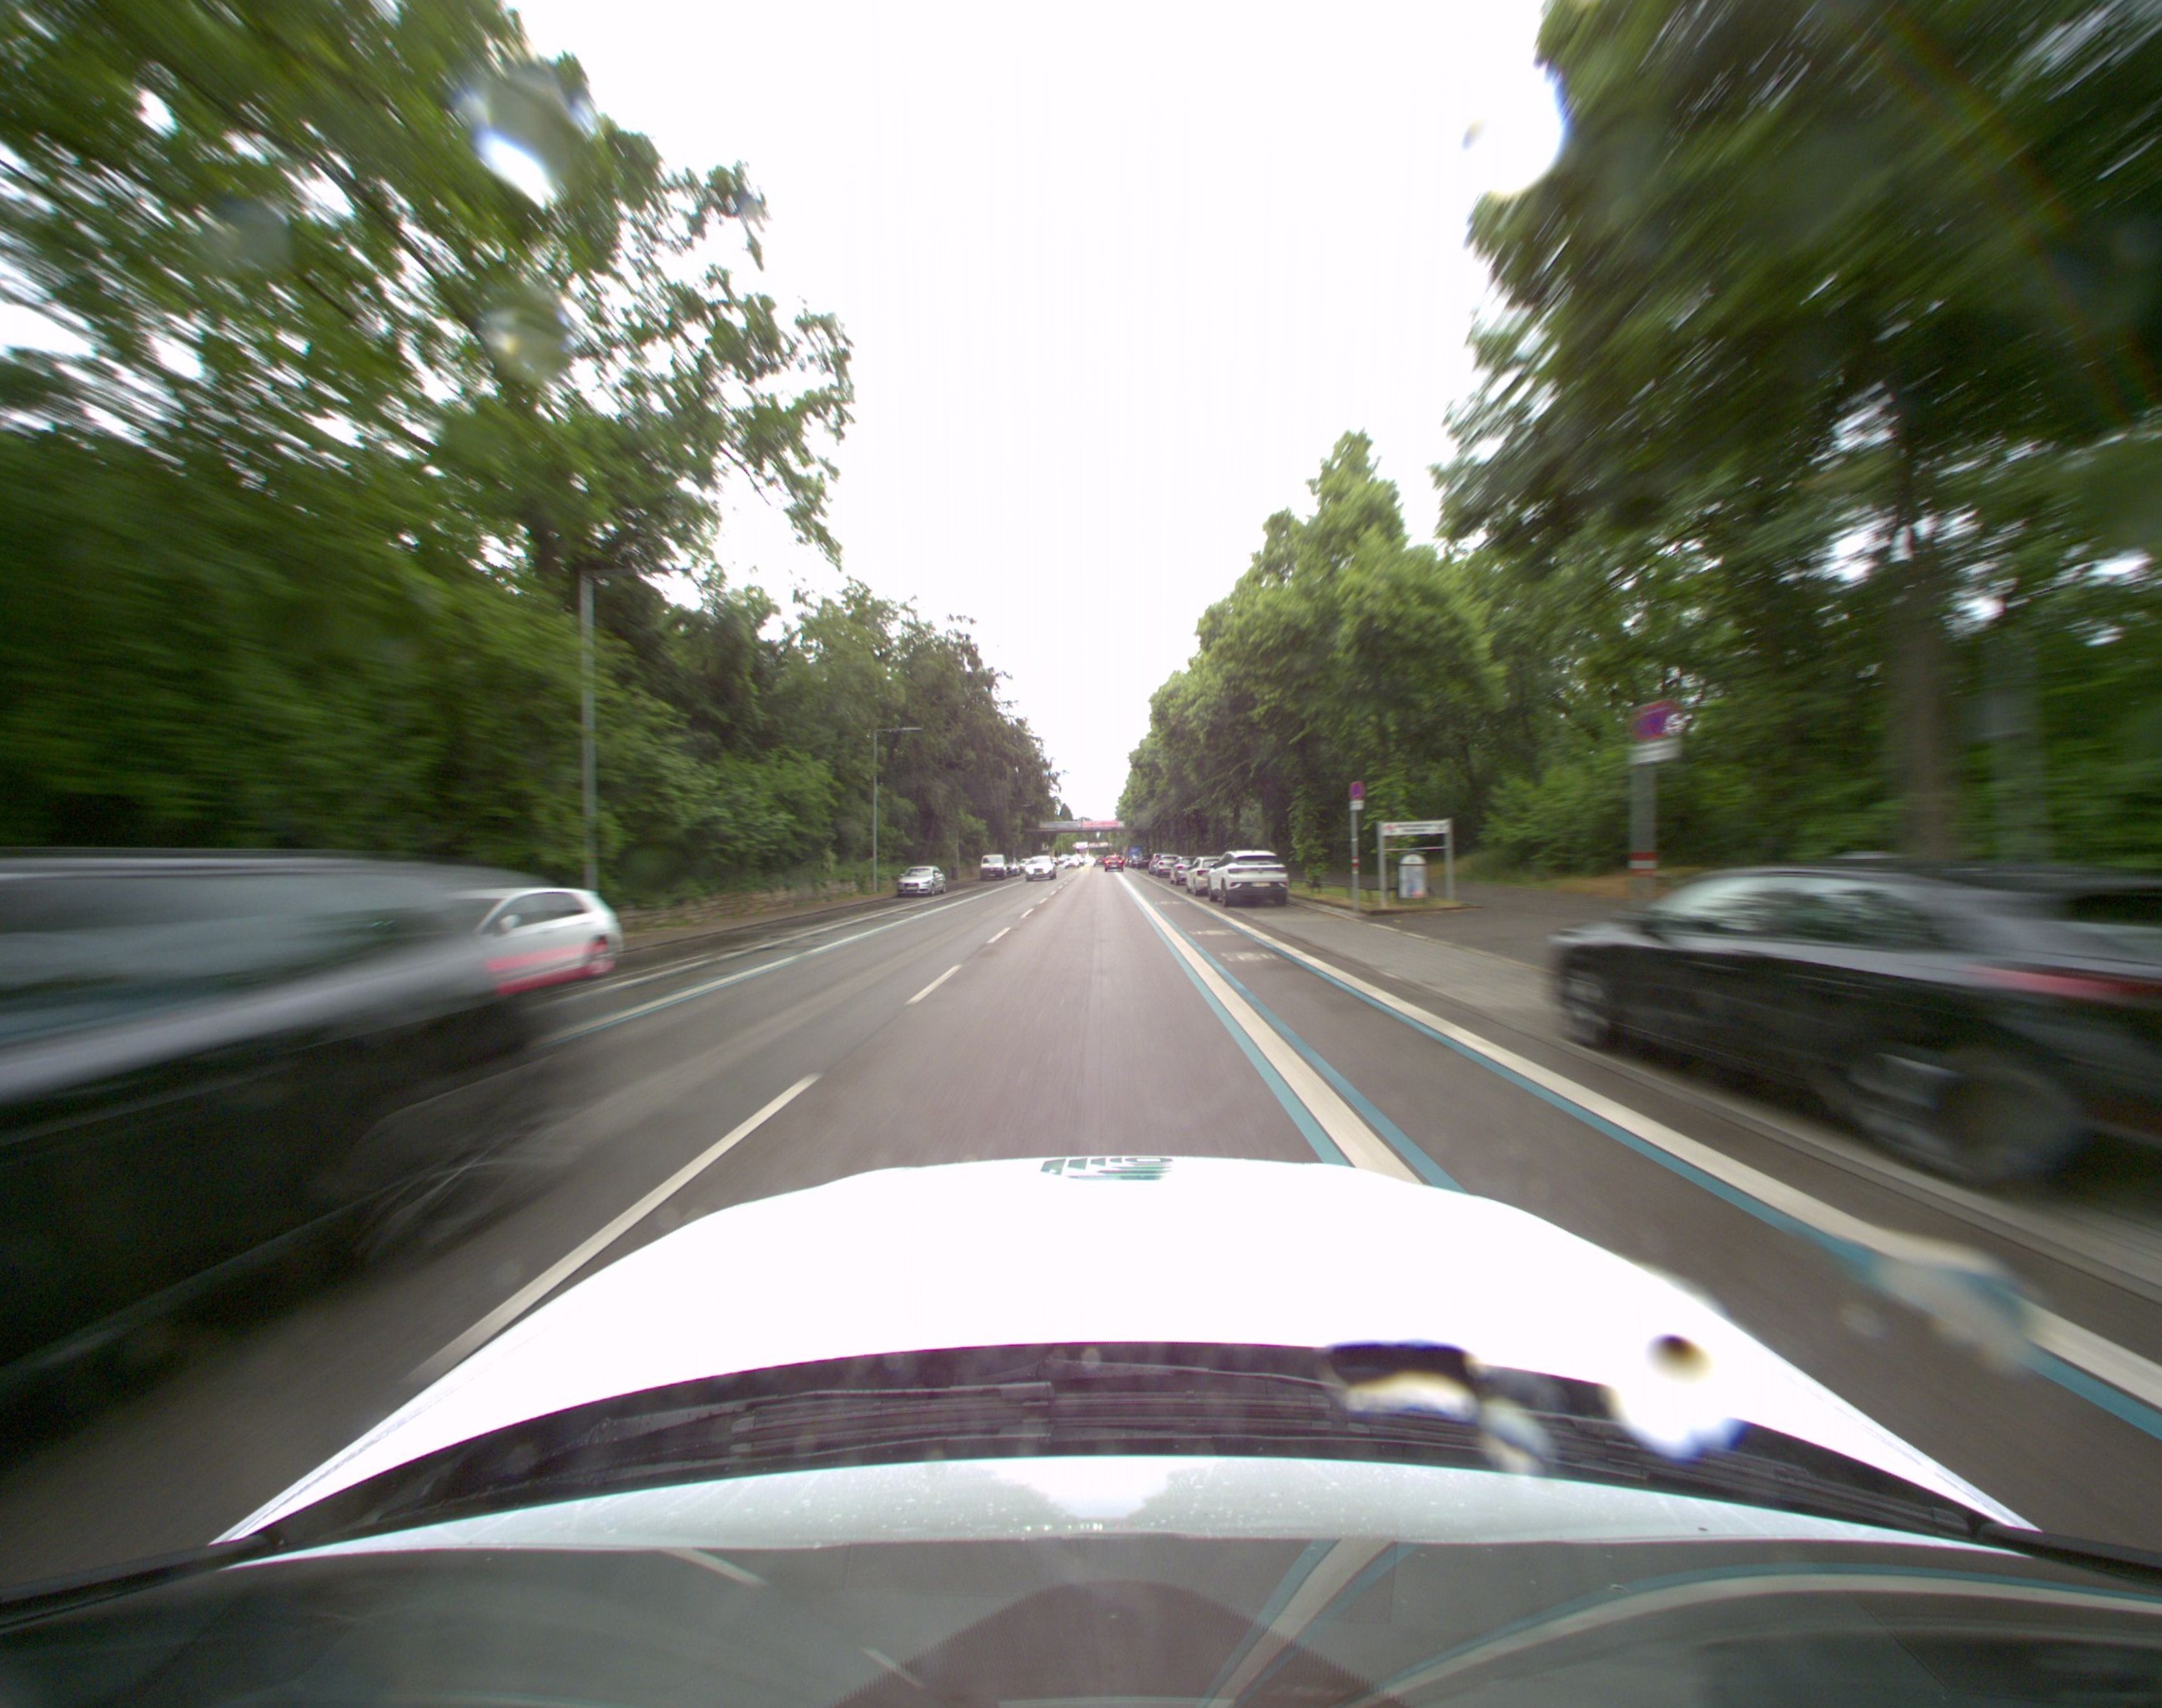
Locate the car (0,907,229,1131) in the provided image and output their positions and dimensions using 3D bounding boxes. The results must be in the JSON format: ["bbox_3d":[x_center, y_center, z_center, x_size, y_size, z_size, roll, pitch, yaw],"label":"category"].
[{"bbox_3d":[-8.156,1.185,4.705,1.816,1.398,4.442,-2,0,-2],"label":"car"}]

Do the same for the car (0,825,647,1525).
[{"bbox_3d":[-3.577,0.802,2.384,2.030,1.649,4.479,-3,0,2],"label":"car"}]

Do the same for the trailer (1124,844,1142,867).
[{"bbox_3d":[6.341,0.176,99.229,1.945,2.758,4.008,-1,0,1],"label":"trailer"}]

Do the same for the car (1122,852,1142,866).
[{"bbox_3d":[5.784,0.578,93.421,1.894,1.547,4.753,0,0,-1],"label":"car"}]

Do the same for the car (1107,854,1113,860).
[{"bbox_3d":[8.151,0.916,230.509,1.725,1.583,4.037,-2,0,1],"label":"car"}]

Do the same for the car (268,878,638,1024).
[{"bbox_3d":[-8.306,1.162,11.409,1.749,1.435,4.356,-2,0,0],"label":"car"}]

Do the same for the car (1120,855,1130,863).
[{"bbox_3d":[8.105,0.938,151.317,1.750,1.590,4.500,0,0,1],"label":"car"}]

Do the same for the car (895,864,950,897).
[{"bbox_3d":[-7.639,1.238,39.578,1.683,1.405,4.030,-1,0,2],"label":"car"}]

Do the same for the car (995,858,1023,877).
[{"bbox_3d":[-6.462,1.179,73.417,2.003,1.605,4.779,-2,0,0],"label":"car"}]

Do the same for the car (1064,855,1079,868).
[{"bbox_3d":[-1.213,0.976,103.915,1.770,1.466,4.062,-4,0,0],"label":"car"}]

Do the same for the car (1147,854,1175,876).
[{"bbox_3d":[5.964,0.777,61.187,1.747,1.597,4.740,-1,0,1],"label":"car"}]

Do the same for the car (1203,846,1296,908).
[{"bbox_3d":[5.070,0.639,25.097,1.986,1.662,4.564,-2,0,2],"label":"car"}]

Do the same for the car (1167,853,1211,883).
[{"bbox_3d":[5.453,0.701,41.621,1.692,1.453,4.097,0,0,0],"label":"car"}]

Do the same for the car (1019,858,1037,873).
[{"bbox_3d":[-5.839,1.221,89.996,1.784,1.482,3.981,-2,0,-1],"label":"car"}]

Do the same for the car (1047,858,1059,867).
[{"bbox_3d":[-4.824,1.443,140.692,1.951,1.463,4.753,-1,0,-2],"label":"car"}]

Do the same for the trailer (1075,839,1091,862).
[{"bbox_3d":[0.463,-0.623,165.104,2.678,4.259,12.770,-4,0,1],"label":"trailer"}]

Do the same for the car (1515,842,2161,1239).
[{"bbox_3d":[4.658,0.702,5.116,1.690,1.476,3.997,-2,0,0],"label":"car"}]

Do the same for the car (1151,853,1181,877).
[{"bbox_3d":[5.704,0.722,55.263,1.691,1.513,4.471,0,0,2],"label":"car"}]

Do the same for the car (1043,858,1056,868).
[{"bbox_3d":[-5.100,1.439,133.164,1.778,1.423,4.295,-2,0,0],"label":"car"}]

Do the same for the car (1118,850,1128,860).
[{"bbox_3d":[8.745,0.171,169.743,1.919,2.022,4.665,0,0,1],"label":"car"}]

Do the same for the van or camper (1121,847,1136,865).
[{"bbox_3d":[7.516,0.279,130.214,2.035,2.729,6.900,0,0,1],"label":"van or camper"}]

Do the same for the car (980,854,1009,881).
[{"bbox_3d":[-6.840,0.990,64.494,1.969,2.005,5.013,-1,0,-3],"label":"car"}]

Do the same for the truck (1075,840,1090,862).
[{"bbox_3d":[0.302,-0.562,158.196,2.509,4.046,4.916,-4,0,1],"label":"truck"}]

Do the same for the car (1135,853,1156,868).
[{"bbox_3d":[6.639,0.649,84.436,1.819,1.503,4.571,-2,0,1],"label":"car"}]

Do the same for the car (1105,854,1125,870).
[{"bbox_3d":[3.191,0.737,76.670,1.811,1.508,4.141,-1,0,2],"label":"car"}]

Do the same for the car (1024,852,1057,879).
[{"bbox_3d":[-2.730,0.758,56.083,1.947,1.639,4.445,-2,0,0],"label":"car"}]

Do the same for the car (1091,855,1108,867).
[{"bbox_3d":[2.445,0.925,108.295,2.134,1.492,4.497,0,0,-1],"label":"car"}]

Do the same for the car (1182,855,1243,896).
[{"bbox_3d":[4.953,0.772,31.202,1.692,1.453,3.945,0,0,0],"label":"car"}]
